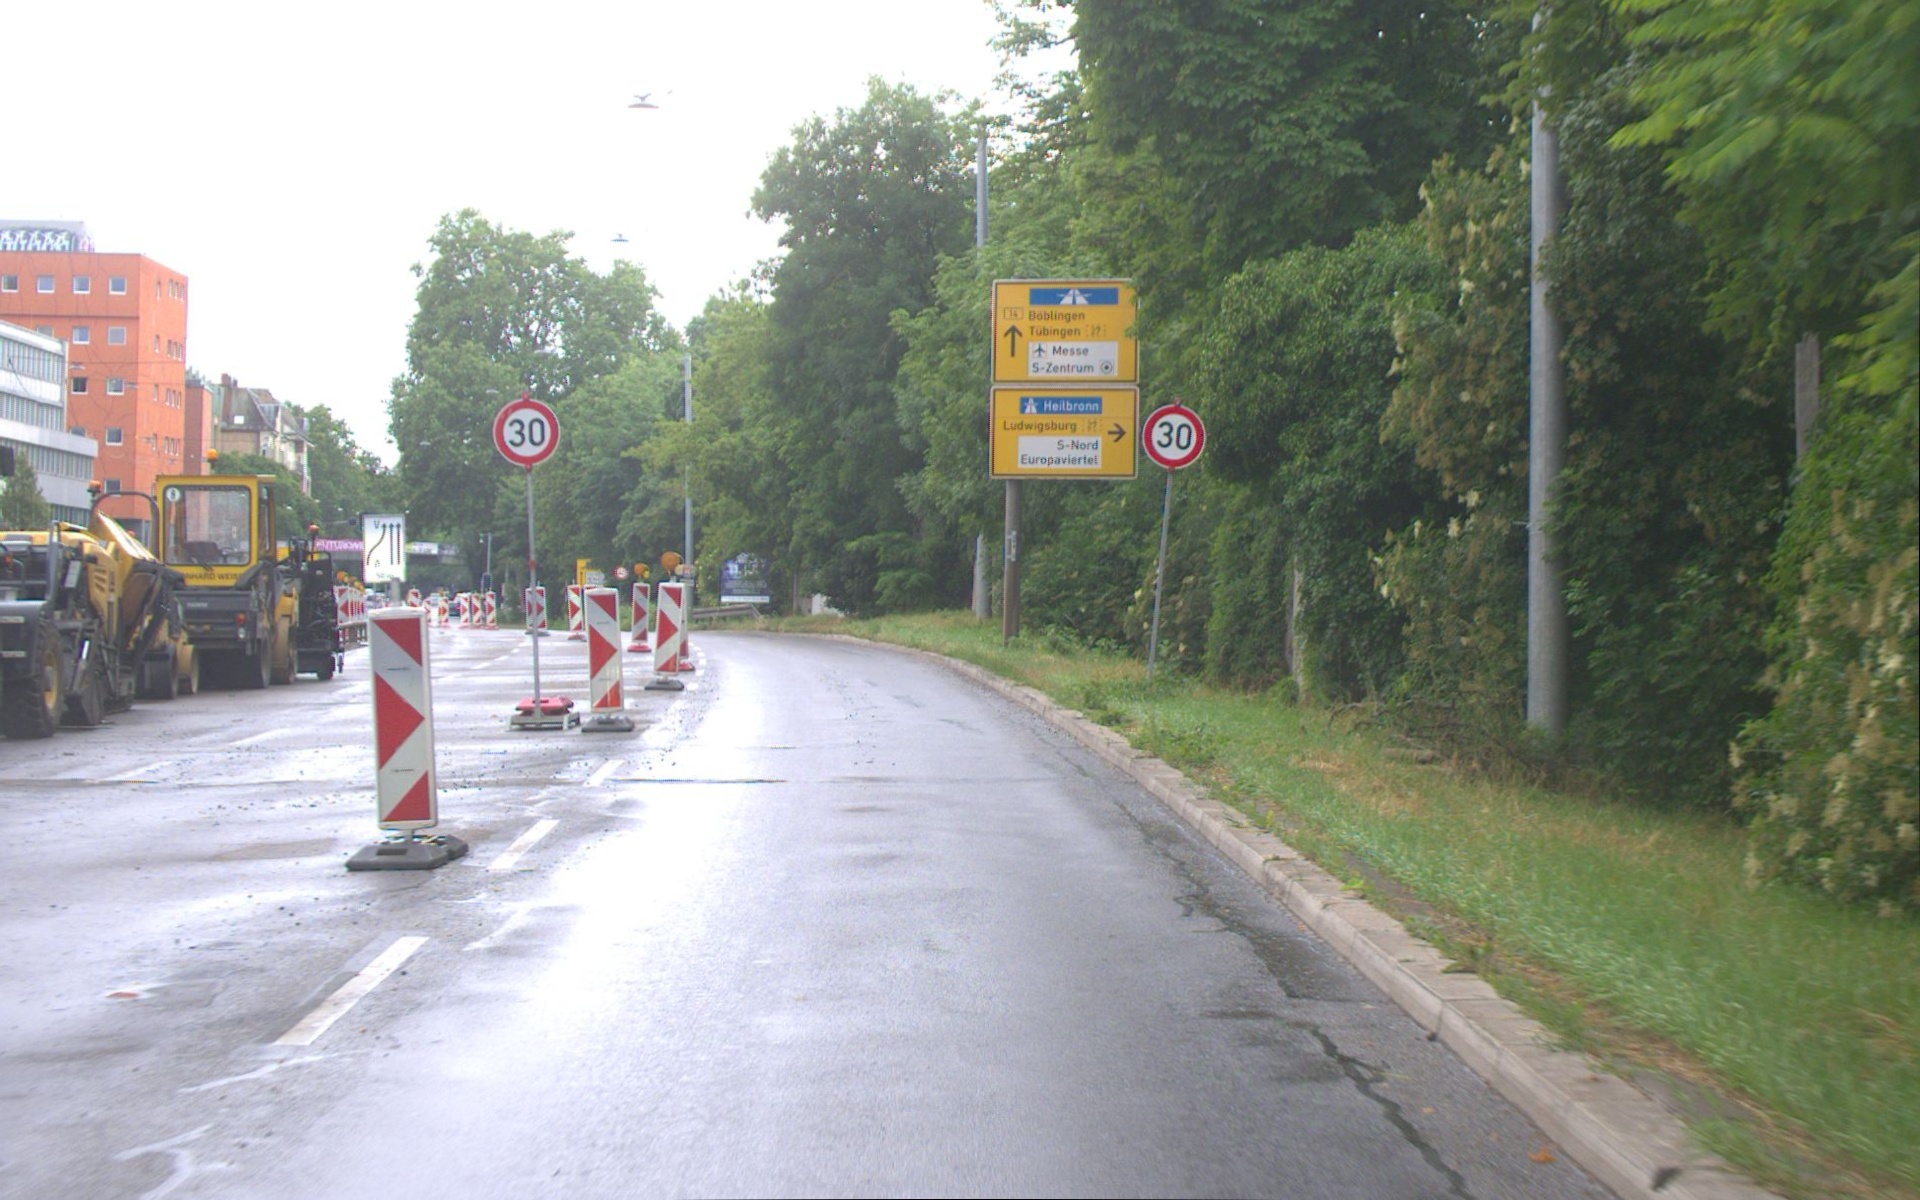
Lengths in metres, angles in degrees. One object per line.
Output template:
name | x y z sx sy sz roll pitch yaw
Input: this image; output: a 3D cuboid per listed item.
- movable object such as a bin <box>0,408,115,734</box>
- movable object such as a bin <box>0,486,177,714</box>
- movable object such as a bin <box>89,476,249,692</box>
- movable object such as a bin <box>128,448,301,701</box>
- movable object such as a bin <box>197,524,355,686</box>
movable object such as a bin | -8.631 -0.237 28.654 1.902 2.600 5.383 1 0 -1
movable object such as a bin | -8.990 0.004 34.098 1.362 2.083 5.030 1 0 -1
movable object such as a bin | -9.088 -0.174 39.629 1.410 2.393 2.406 -1 0 -4
movable object such as a bin | -9.262 -0.300 42.942 1.465 2.998 3.724 -1 0 -2
movable object such as a bin | -9.396 0.069 47.415 1.715 2.142 3.350 -1 0 -4
